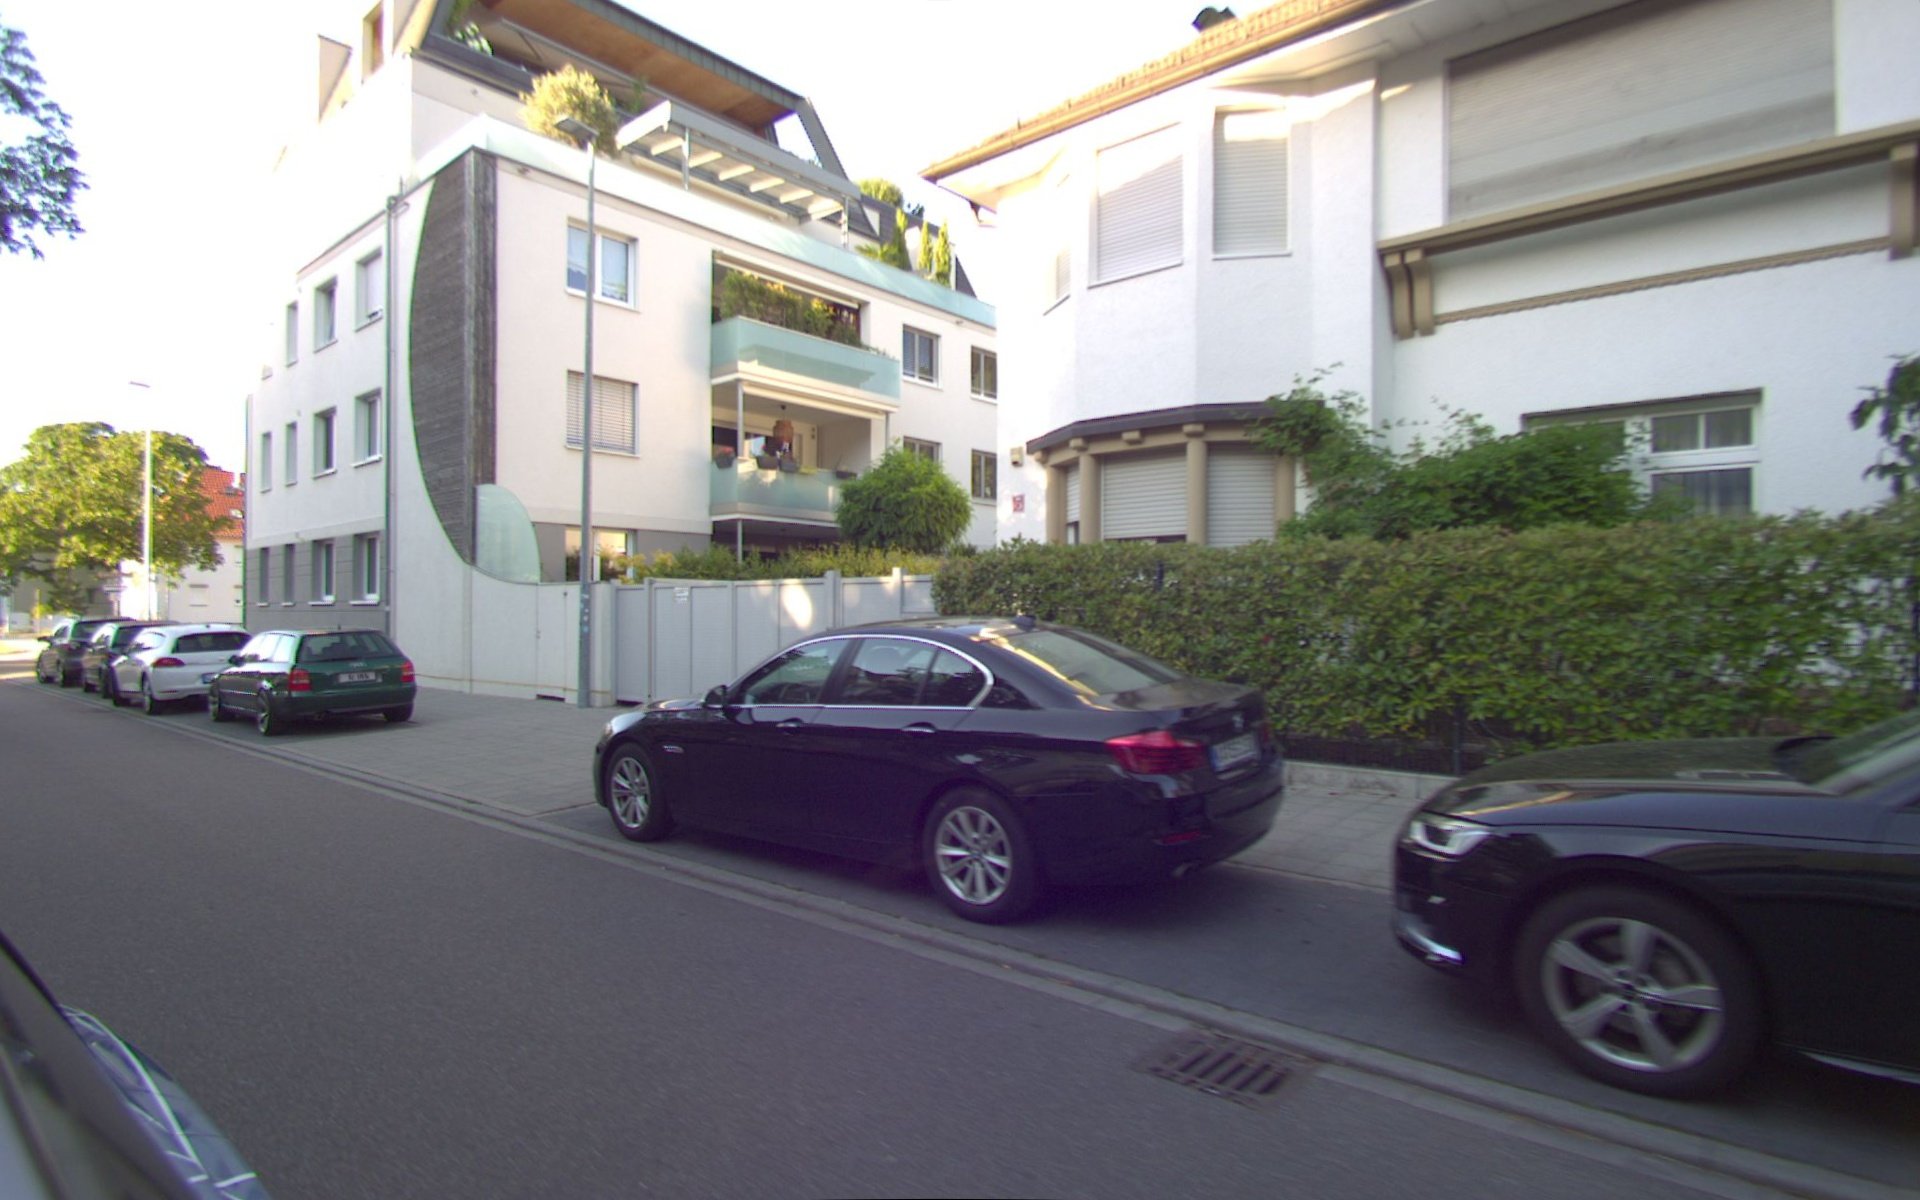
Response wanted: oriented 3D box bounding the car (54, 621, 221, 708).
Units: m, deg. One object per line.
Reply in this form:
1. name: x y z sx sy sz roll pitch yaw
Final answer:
1. car: -17.093 1.252 20.972 4.085 1.603 1.866 -1 -1 39

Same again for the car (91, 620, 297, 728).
1. car: -13.113 1.160 17.247 4.085 1.603 1.866 -1 -1 39

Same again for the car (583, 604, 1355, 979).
1. car: -0.220 0.793 6.260 4.649 1.509 1.836 -1 -1 38

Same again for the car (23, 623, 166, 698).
1. car: -20.654 1.367 24.095 4.085 1.603 1.866 -1 -1 39

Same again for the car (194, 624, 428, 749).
1. car: -9.242 1.096 14.284 4.140 1.458 1.739 -1 -1 42

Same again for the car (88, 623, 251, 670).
1. car: -30.801 1.769 39.545 1.788 1.682 4.772 -1 -1 41

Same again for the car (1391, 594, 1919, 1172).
1. car: 3.843 0.734 2.643 4.698 1.509 1.764 -1 -1 42
